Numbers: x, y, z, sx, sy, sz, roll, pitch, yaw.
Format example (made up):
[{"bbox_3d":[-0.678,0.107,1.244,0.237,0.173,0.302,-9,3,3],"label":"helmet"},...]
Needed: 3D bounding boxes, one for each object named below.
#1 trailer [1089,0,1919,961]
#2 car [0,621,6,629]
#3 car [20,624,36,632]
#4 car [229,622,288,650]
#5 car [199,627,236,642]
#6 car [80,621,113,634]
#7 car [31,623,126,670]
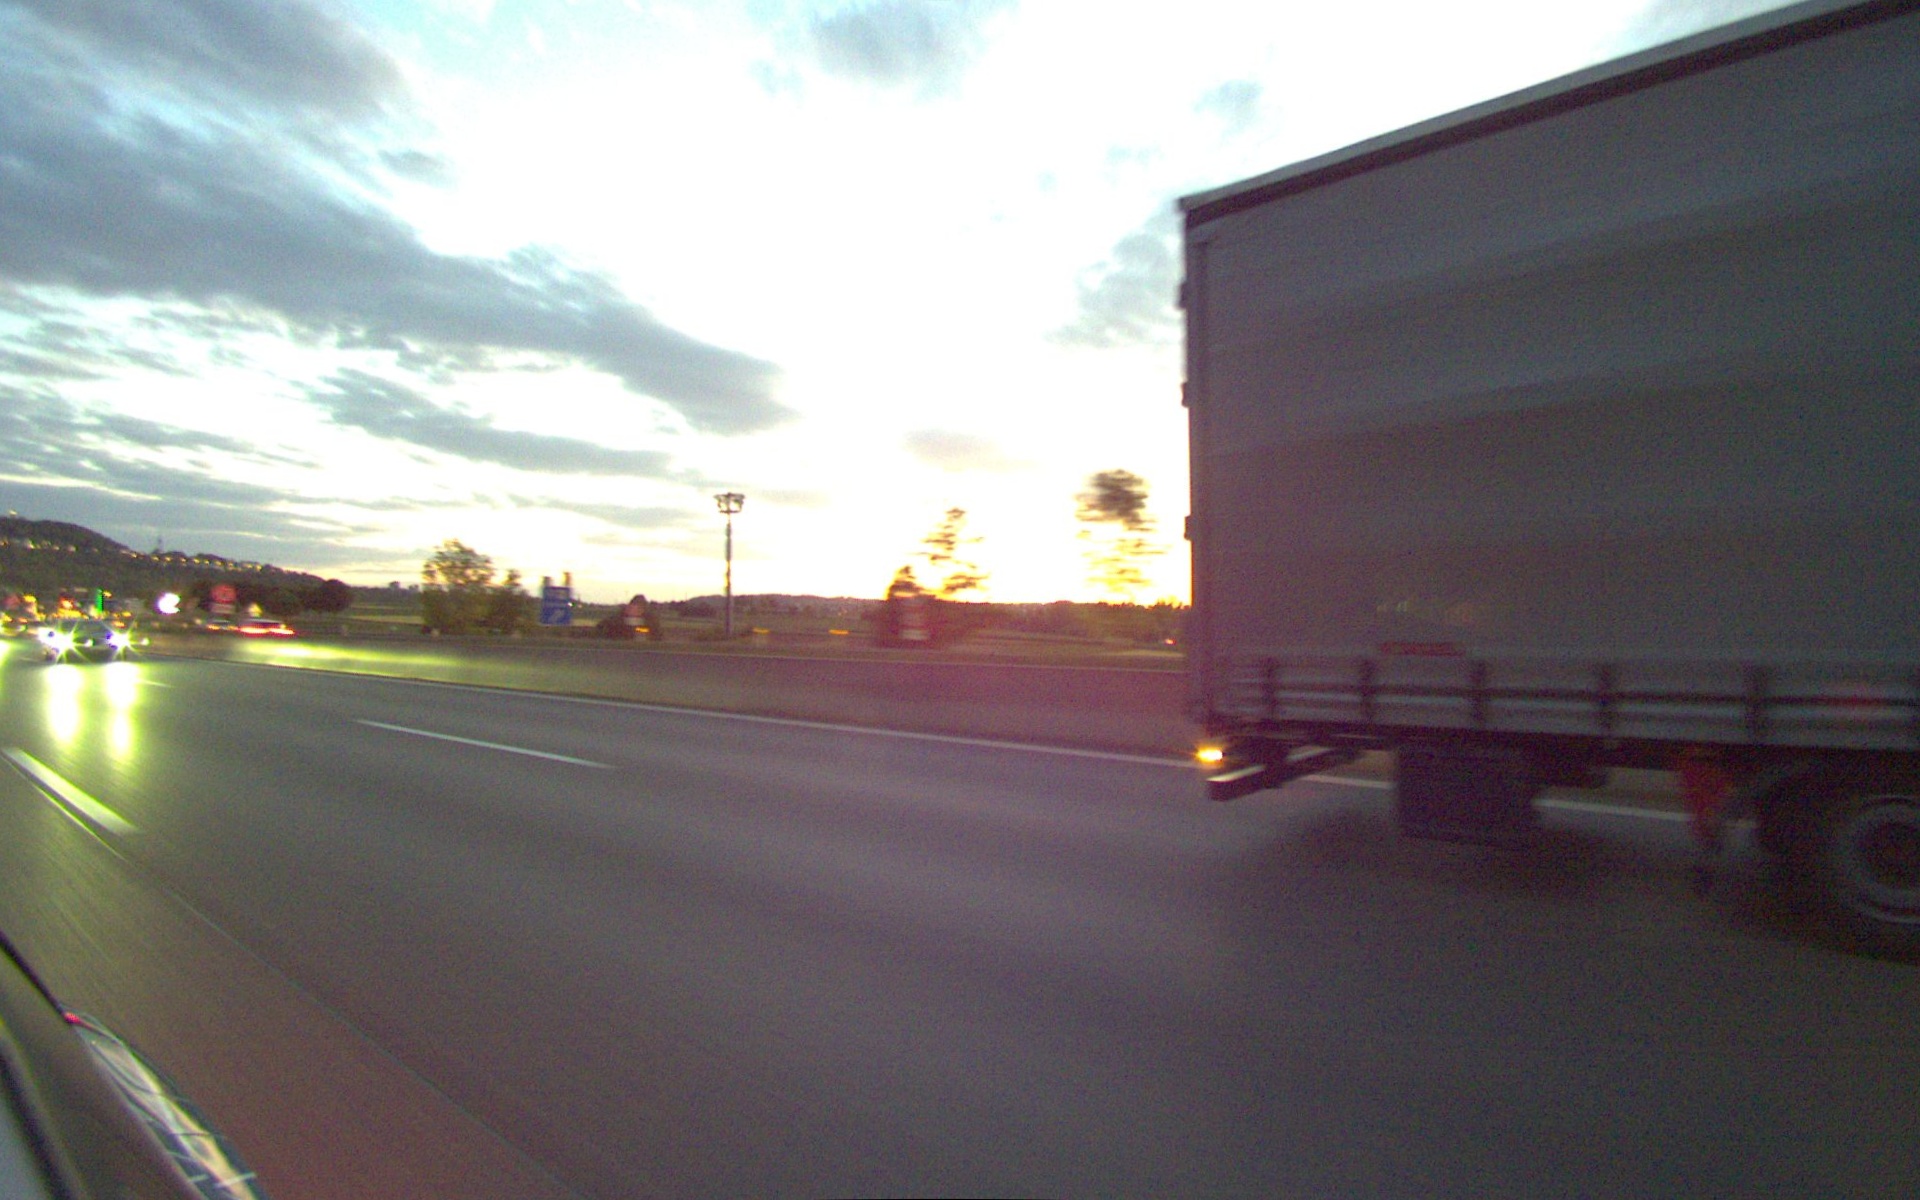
[{"bbox_3d":[7.112,-0.684,2.667,14.522,4.116,2.764,-1,-2,42],"label":"trailer"},{"bbox_3d":[-122.423,3.184,128.401,3.564,0.996,1.675,-1,0,42],"label":"car"},{"bbox_3d":[-149.121,4.530,161.972,3.608,1.200,1.520,-1,0,42],"label":"car"},{"bbox_3d":[-35.805,1.822,51.621,3.643,1.299,1.637,-1,0,41],"label":"car"},{"bbox_3d":[-62.573,2.907,85.247,3.998,1.187,1.700,-1,0,41],"label":"car"},{"bbox_3d":[-83.532,2.685,97.923,3.998,1.187,1.911,-1,0,41],"label":"car"},{"bbox_3d":[-31.004,1.576,35.546,5.392,1.448,1.795,-1,0,41],"label":"car"}]
